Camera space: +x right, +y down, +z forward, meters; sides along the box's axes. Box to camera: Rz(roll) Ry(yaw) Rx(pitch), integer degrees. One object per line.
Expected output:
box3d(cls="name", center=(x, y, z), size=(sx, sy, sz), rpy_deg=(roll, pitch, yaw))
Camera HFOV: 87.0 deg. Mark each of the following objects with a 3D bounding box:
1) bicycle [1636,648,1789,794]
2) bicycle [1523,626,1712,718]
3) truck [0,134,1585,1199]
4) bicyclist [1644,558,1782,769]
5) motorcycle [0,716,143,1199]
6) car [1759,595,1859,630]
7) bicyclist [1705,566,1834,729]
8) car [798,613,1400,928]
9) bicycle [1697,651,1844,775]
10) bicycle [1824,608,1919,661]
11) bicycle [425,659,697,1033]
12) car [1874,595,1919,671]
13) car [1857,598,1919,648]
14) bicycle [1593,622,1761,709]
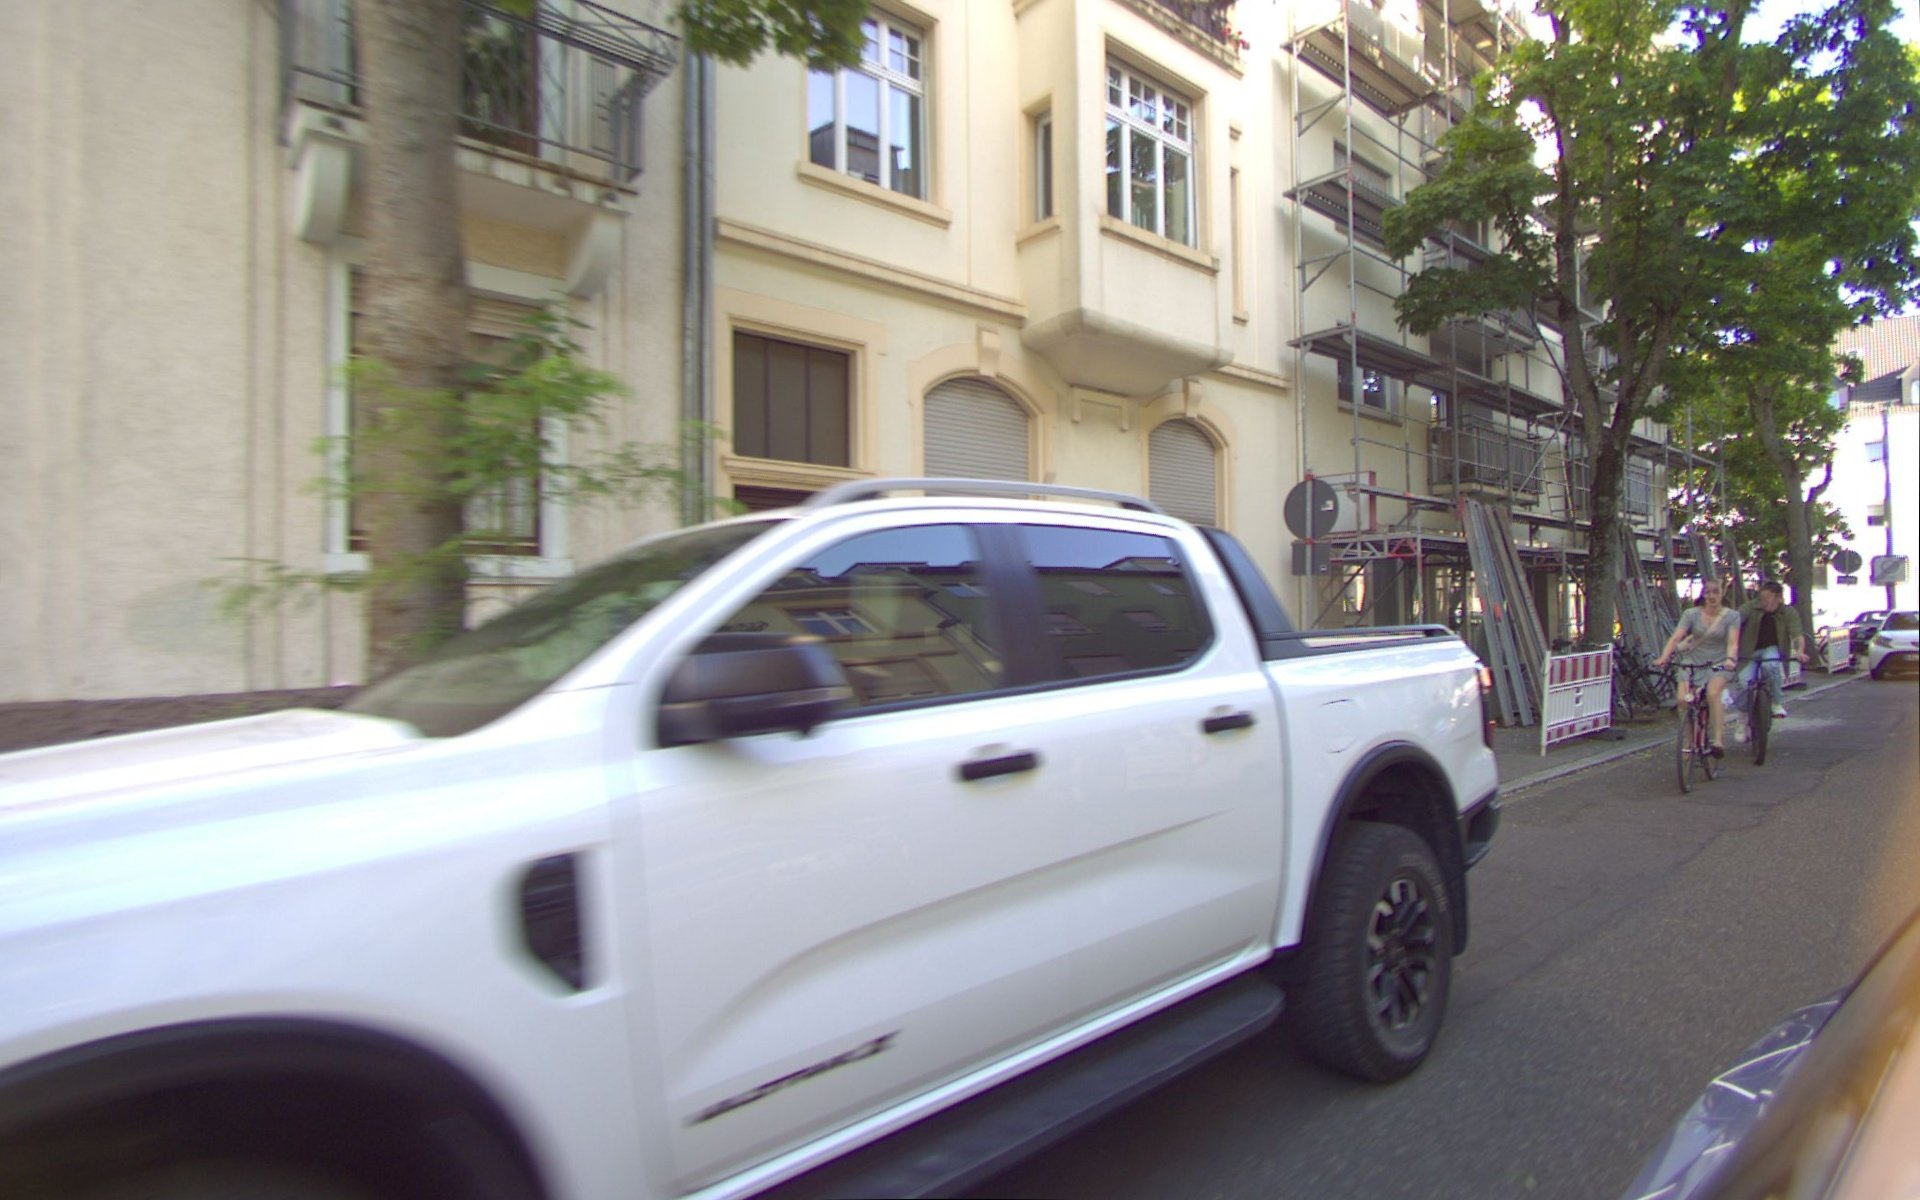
box3d(cls="bicycle", center=(6.610, 1.008, 8.852), size=(1.827, 1.059, 0.706), rpy_deg=(-1, -4, -44))
box3d(cls="bicycle", center=(8.825, 0.930, 13.683), size=(0.733, 1.136, 1.984), rpy_deg=(0, -2, -30))
box3d(cls="truck", center=(-0.175, 0.509, 2.982), size=(5.443, 1.974, 1.831), rpy_deg=(0, -2, -41))
box3d(cls="bicyclist", center=(6.565, 0.534, 8.824), size=(0.965, 1.711, 0.714), rpy_deg=(0, -4, -45))
box3d(cls="motorcycle", center=(-3.289, 0.986, 2.761), size=(1.736, 1.256, 0.700), rpy_deg=(-2, -2, 11))
box3d(cls="car", center=(42.151, 0.625, 50.265), size=(3.691, 1.628, 1.624), rpy_deg=(-3, -2, 42))
box3d(cls="bicyclist", center=(8.343, 0.476, 10.433), size=(0.963, 1.585, 0.757), rpy_deg=(0, -3, -38))
box3d(cls="car", center=(1.195, 0.848, 6.954), size=(4.353, 1.440, 1.682), rpy_deg=(0, 0, -41))
box3d(cls="bicycle", center=(8.341, 1.104, 10.392), size=(1.824, 1.073, 0.740), rpy_deg=(-1, -2, -39))
box3d(cls="bicycle", center=(22.396, 0.827, 24.641), size=(1.960, 1.169, 0.742), rpy_deg=(2, 2, 35))
box3d(cls="bicycle", center=(-1.882, 0.959, 4.614), size=(0.576, 1.322, 1.761), rpy_deg=(0, -2, -42))
box3d(cls="car", center=(21.193, 0.653, 21.678), size=(3.893, 1.555, 1.805), rpy_deg=(0, -2, -40))
box3d(cls="car", center=(29.606, 0.677, 31.739), size=(4.429, 1.425, 1.664), rpy_deg=(0, 2, -42))
box3d(cls="bicycle", center=(10.104, 0.890, 14.376), size=(0.732, 1.136, 1.932), rpy_deg=(-1, -1, -11))
